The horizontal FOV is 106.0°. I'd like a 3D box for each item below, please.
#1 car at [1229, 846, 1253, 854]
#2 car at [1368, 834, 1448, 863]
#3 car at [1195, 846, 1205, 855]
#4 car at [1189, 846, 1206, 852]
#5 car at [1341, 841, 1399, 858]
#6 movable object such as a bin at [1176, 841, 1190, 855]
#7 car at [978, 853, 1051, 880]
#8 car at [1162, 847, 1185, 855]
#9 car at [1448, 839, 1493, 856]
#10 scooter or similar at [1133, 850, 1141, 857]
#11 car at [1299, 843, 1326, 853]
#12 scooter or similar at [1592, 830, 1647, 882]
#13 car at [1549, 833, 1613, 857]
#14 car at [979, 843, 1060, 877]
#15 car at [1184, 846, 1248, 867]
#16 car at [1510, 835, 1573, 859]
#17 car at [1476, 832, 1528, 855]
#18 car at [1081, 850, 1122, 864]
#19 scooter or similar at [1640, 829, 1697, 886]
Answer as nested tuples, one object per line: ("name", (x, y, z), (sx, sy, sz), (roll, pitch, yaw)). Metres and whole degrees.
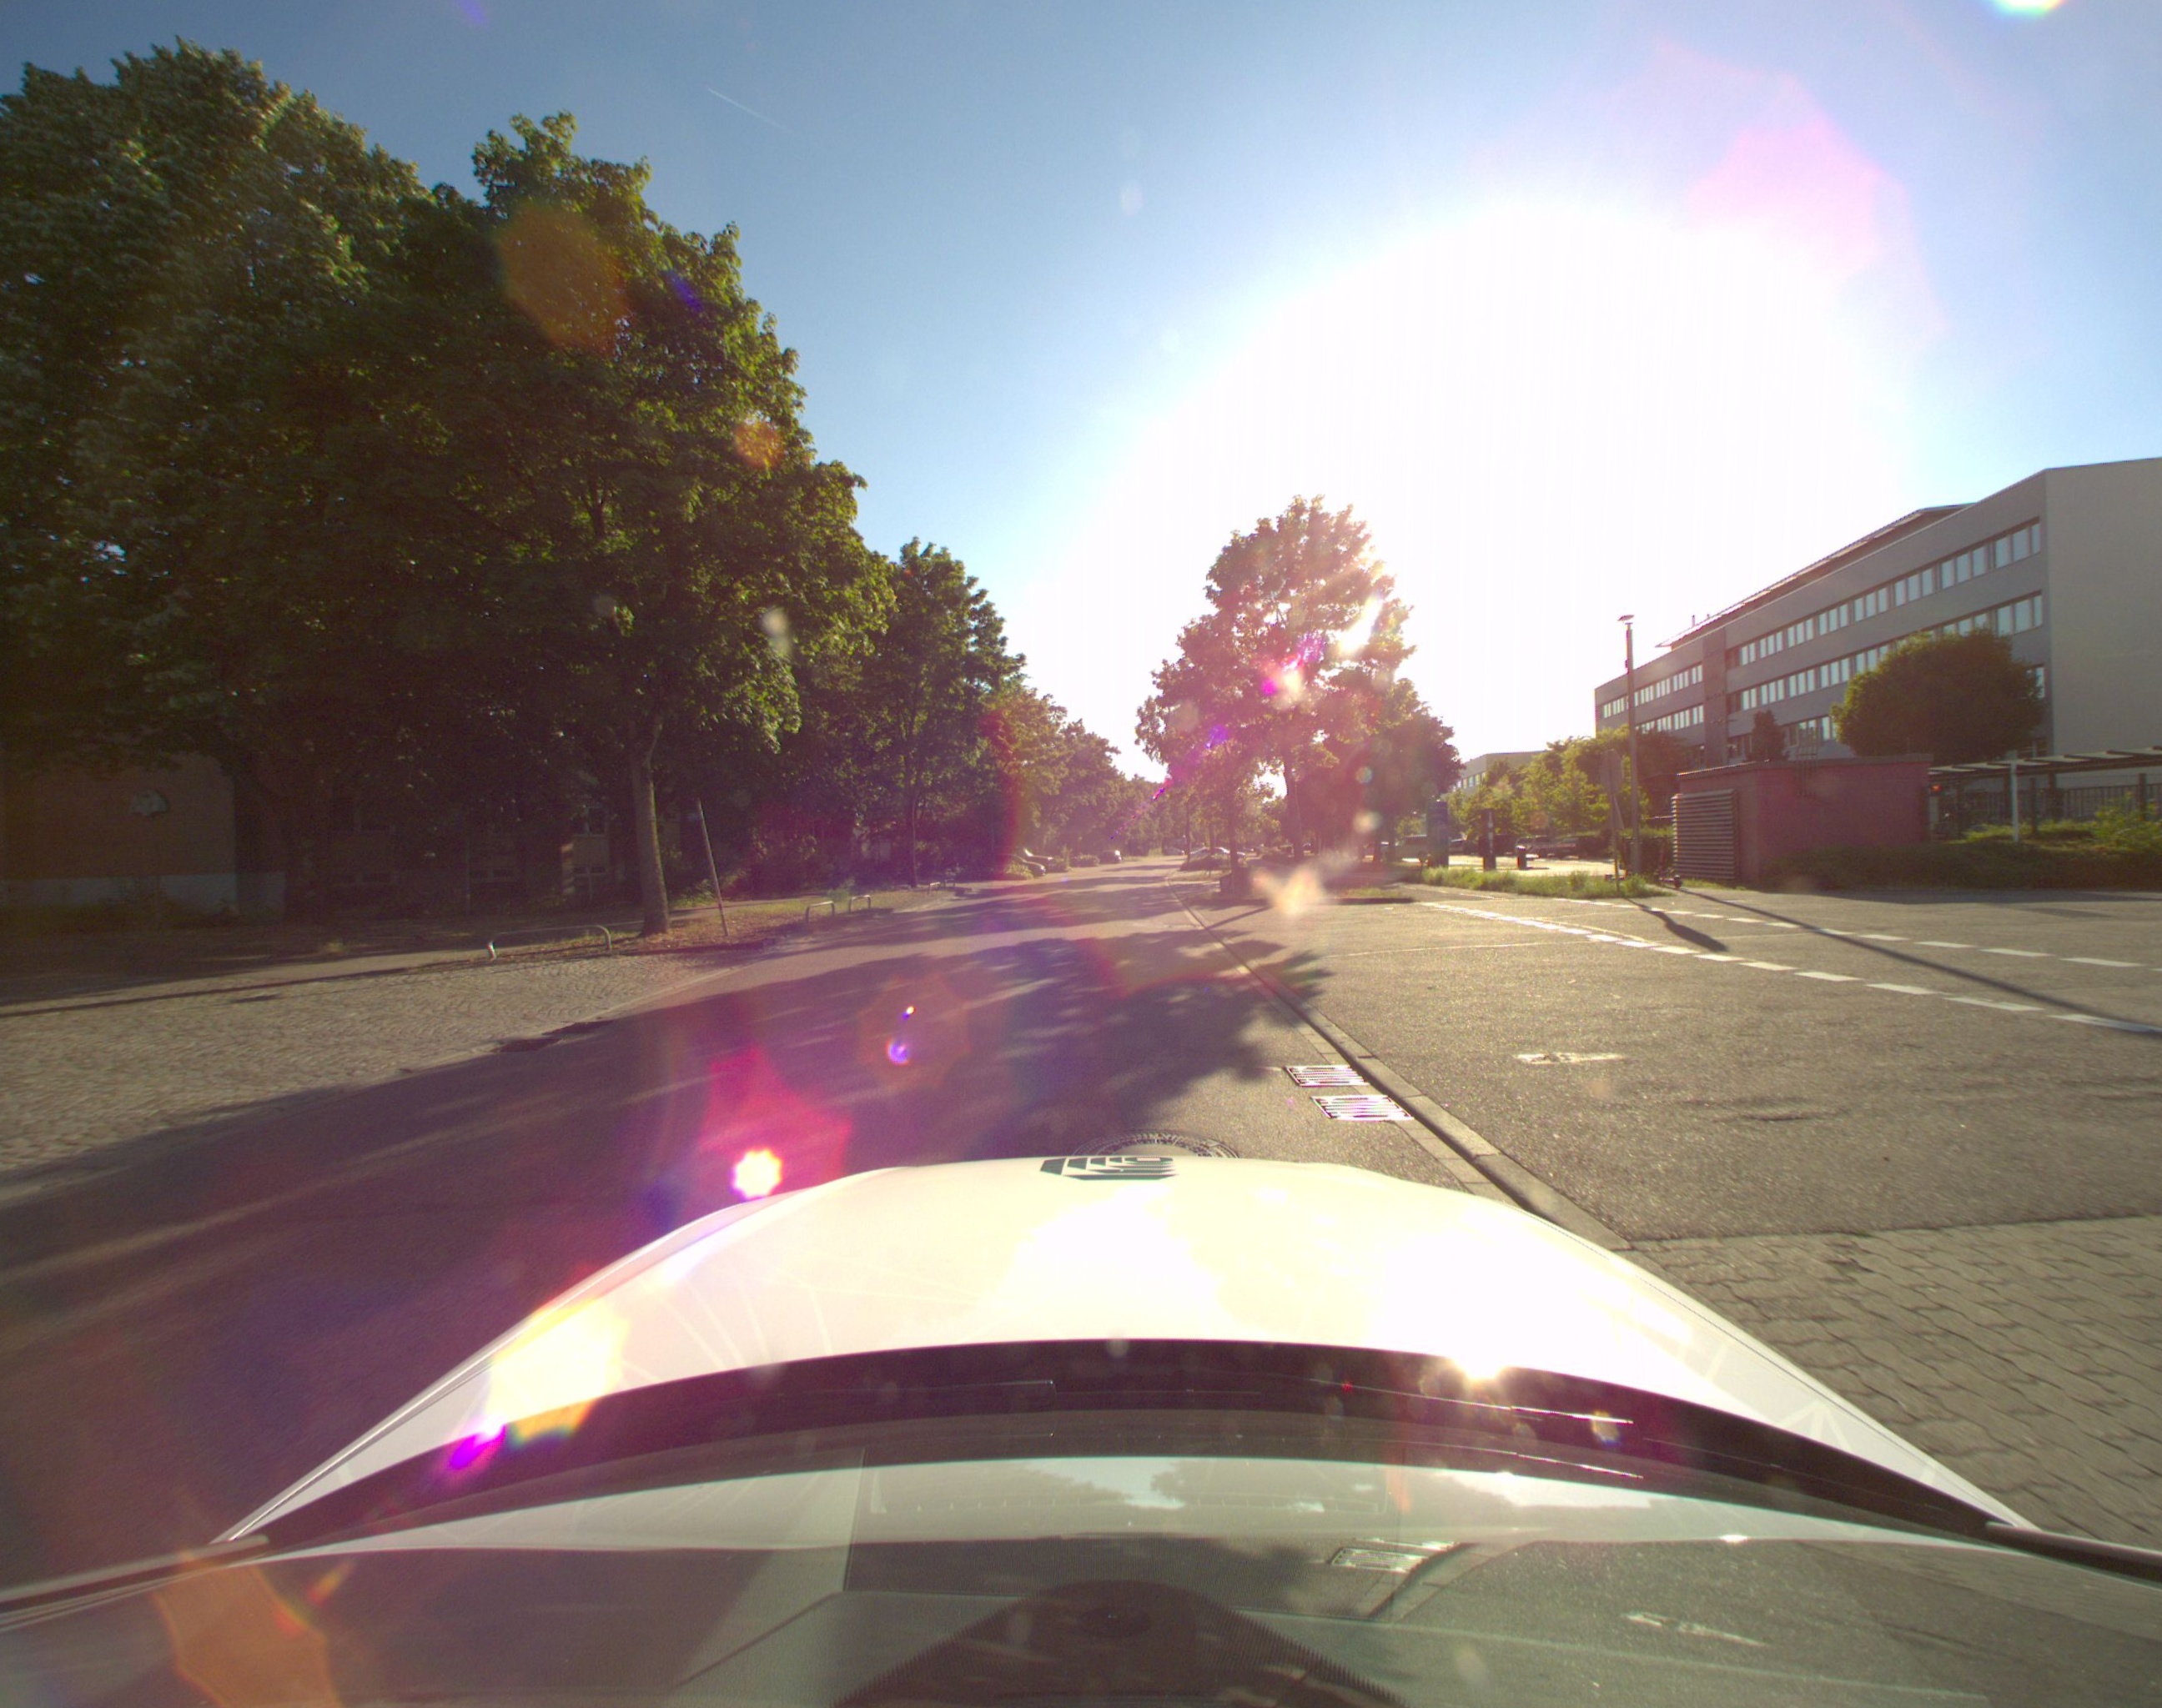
("car", (33.290, -0.856, 169.668), (4.807, 1.479, 2.007), (0, 0, 13))
("car", (22.826, -0.401, 56.979), (2.008, 1.933, 4.902), (-2, 1, -33))
("car", (32.798, -0.902, 223.913), (2.504, 2.386, 4.380), (-2, 0, 6))
("car", (30.653, -1.232, 214.808), (4.336, 1.479, 2.004), (0, 0, 6))
("car", (28.068, -0.427, 79.156), (2.011, 1.574, 4.895), (-2, 0, -41))
("movable object such as a bin", (22.032, -1.253, 175.348), (2.822, 3.068, 4.939), (0, 0, 9))
("car", (-4.079, 0.748, 50.405), (4.191, 1.530, 1.708), (-2, 0, 5))
("car", (18.467, -0.525, 163.091), (4.328, 1.547, 2.007), (0, 0, 13))
("car", (37.574, -0.646, 78.588), (4.316, 1.527, 1.751), (-2, 0, -30))
("scooter or similar", (10.281, -0.065, 149.554), (1.592, 1.145, 0.571), (-2, 0, -38))
("car", (40.495, -1.118, 142.264), (4.400, 1.705, 2.066), (0, 0, 11))
("scooter or similar", (13.639, 0.047, 20.659), (0.517, 1.272, 1.389), (-2, 0, 4))
("car", (31.425, -0.548, 51.130), (4.013, 1.354, 1.789), (-2, 0, -31))
("car", (-4.067, 0.394, 54.472), (4.980, 2.020, 2.178), (-2, 0, 5))
("car", (11.329, 0.185, 68.703), (5.147, 1.574, 2.162), (-2, 0, 7))
("car", (32.767, -0.516, 57.901), (4.323, 1.528, 1.791), (-2, 0, -27))
("car", (35.073, -0.885, 67.775), (4.511, 1.750, 1.750), (-2, 0, -32))
("car", (2.324, 0.302, 91.064), (4.332, 1.479, 2.006), (0, 0, 9))
("scooter or similar", (13.828, 0.078, 19.192), (0.517, 1.272, 1.202), (-2, 0, 4))
